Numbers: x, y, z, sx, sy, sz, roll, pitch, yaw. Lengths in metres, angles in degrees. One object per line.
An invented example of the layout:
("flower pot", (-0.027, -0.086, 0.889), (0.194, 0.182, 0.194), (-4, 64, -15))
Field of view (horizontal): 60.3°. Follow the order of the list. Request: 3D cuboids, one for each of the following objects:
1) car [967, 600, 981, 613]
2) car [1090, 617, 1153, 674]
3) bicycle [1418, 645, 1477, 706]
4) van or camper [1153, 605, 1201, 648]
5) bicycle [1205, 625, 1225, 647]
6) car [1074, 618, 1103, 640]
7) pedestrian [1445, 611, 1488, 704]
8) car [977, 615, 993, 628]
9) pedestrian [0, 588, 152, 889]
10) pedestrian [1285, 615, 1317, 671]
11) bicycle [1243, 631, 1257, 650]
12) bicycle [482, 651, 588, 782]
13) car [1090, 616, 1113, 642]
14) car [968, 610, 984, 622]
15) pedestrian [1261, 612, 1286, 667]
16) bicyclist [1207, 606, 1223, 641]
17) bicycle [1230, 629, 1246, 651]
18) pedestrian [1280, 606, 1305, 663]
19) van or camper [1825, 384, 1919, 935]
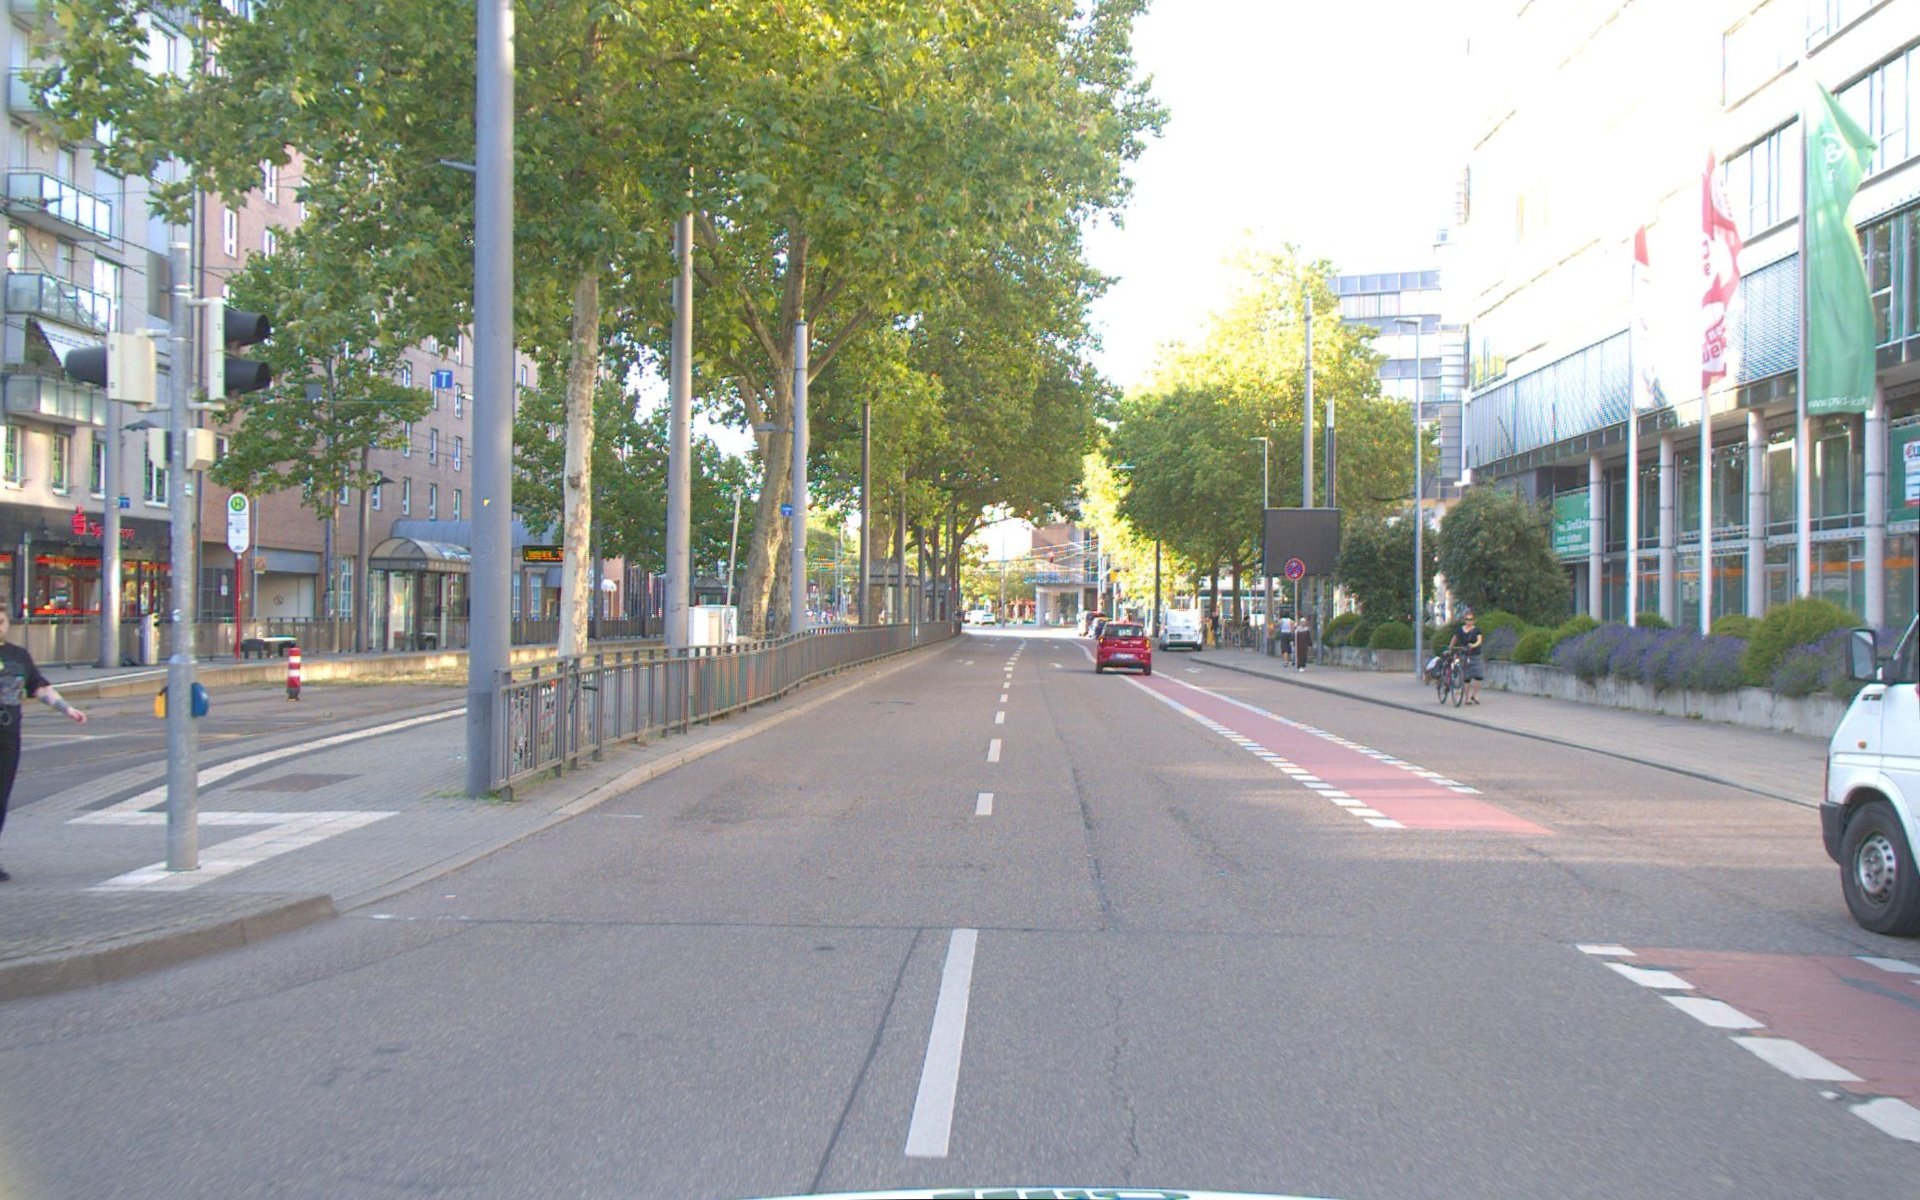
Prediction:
("car", (1.846, 0.869, 219.817), (1.742, 1.616, 3.410), (1, -1, -3))
("car", (4.641, 1.281, 47.989), (1.580, 1.561, 3.412), (1, -1, 2))
("bicycle", (8.989, 1.374, 30.539), (0.510, 0.992, 2.202), (-3, 0, 3))
("van or camper", (10.696, 1.296, 81.787), (1.952, 2.024, 4.746), (1, -1, 3))
("bicycle", (12.724, 1.802, 82.672), (0.669, 1.086, 2.469), (-1, -1, 1))
("car", (9.697, 2.188, 125.210), (1.742, 1.561, 3.510), (1, -1, -3))
("pedestrian", (9.361, 1.053, 30.576), (0.633, 1.710, 0.652), (0, -1, 5))
("car", (3.113, 2.678, 207.141), (1.742, 1.561, 3.410), (1, -1, -3))
("pedestrian", (-5.137, 0.726, 9.090), (1.023, 1.571, 0.695), (0, -1, 10))
("pedestrian", (10.081, 1.274, 48.926), (0.630, 1.607, 0.721), (-3, -1, -12))
("bicycle", (15.251, 2.129, 87.106), (0.458, 0.999, 1.768), (-1, -1, 1))
("bicycle", (-3.559, 0.953, 13.925), (0.387, 0.965, 1.352), (0, 2, 7))
("car", (10.185, 2.083, 118.954), (1.601, 1.831, 3.331), (0, -1, 4))
("car", (2.053, 2.037, 213.779), (1.742, 1.561, 3.410), (1, -1, -3))
("pedestrian", (10.176, 1.276, 53.668), (0.552, 1.732, 0.907), (-3, -1, 0))
("bicyclist", (12.746, 1.170, 82.683), (0.636, 1.732, 0.952), (1, -1, 1))
("bicycle", (14.623, 2.103, 87.108), (0.573, 1.086, 1.900), (-1, -1, 1))
("pedestrian", (10.780, 1.121, 53.657), (0.529, 1.827, 0.907), (-3, -1, 0))
("van or camper", (5.727, 0.298, 6.064), (1.928, 2.764, 6.306), (1, 0, 2))
